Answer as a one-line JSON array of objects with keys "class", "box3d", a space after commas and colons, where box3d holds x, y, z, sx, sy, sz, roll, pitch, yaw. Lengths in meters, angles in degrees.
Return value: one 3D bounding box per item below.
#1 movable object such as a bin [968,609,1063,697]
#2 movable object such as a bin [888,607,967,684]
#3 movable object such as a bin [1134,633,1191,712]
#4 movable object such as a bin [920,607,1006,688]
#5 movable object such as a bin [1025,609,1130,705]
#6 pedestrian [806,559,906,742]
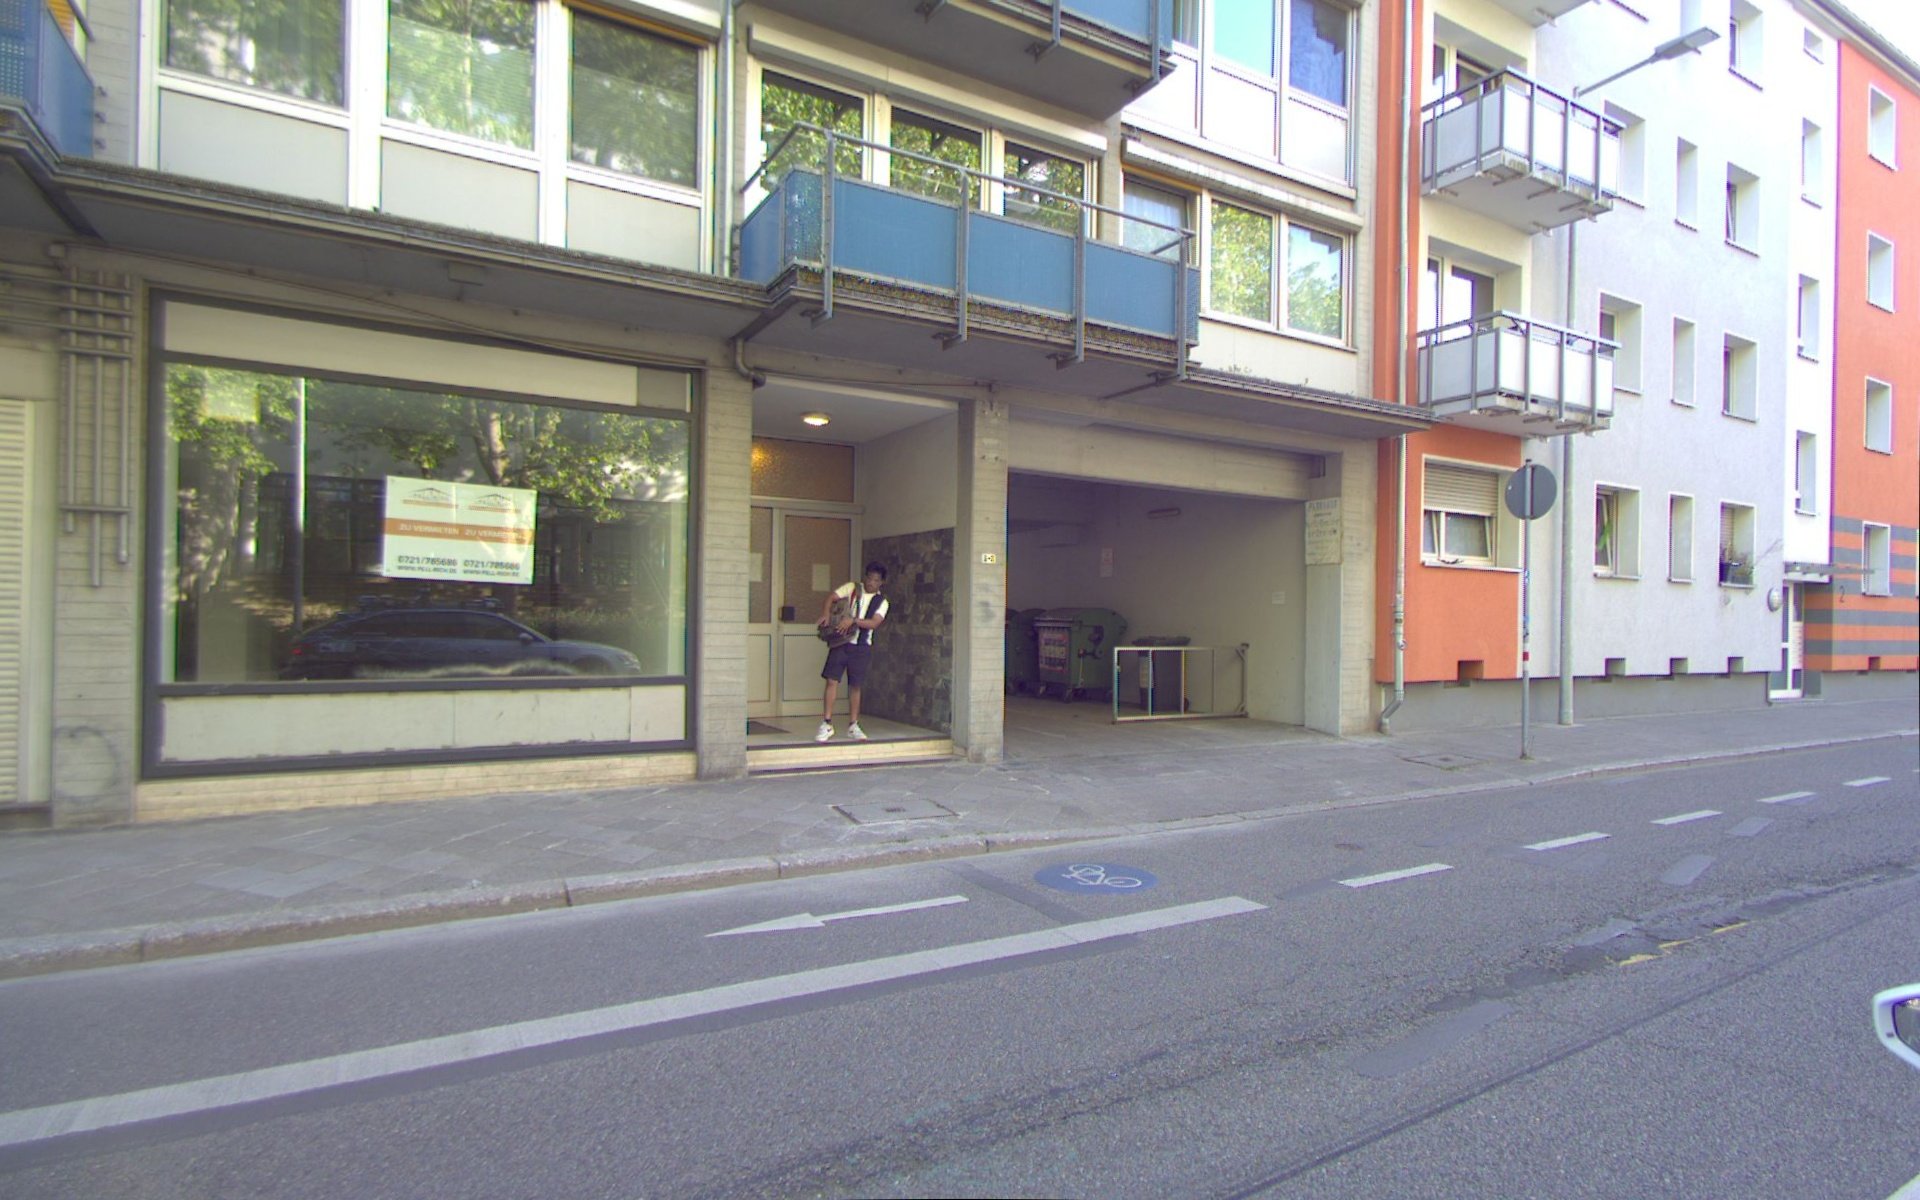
[{"class": "movable object such as a bin", "box3d": [0.932, 0.875, 17.159, 1.067, 1.433, 1.312, 1, -1, -30]}, {"class": "movable object such as a bin", "box3d": [-0.648, 0.875, 19.818, 1.067, 1.433, 1.312, 1, -1, -30]}, {"class": "movable object such as a bin", "box3d": [2.906, 1.028, 14.431, 0.646, 1.102, 0.487, 1, 0, -30]}, {"class": "movable object such as a bin", "box3d": [0.044, 0.854, 18.615, 1.067, 1.433, 1.312, 1, -1, -30]}, {"class": "movable object such as a bin", "box3d": [1.826, 0.861, 15.776, 1.067, 1.433, 1.312, 1, -1, -30]}, {"class": "pedestrian", "box3d": [-0.956, 0.451, 9.186, 0.747, 1.600, 0.511, 1, 0, -30]}]
